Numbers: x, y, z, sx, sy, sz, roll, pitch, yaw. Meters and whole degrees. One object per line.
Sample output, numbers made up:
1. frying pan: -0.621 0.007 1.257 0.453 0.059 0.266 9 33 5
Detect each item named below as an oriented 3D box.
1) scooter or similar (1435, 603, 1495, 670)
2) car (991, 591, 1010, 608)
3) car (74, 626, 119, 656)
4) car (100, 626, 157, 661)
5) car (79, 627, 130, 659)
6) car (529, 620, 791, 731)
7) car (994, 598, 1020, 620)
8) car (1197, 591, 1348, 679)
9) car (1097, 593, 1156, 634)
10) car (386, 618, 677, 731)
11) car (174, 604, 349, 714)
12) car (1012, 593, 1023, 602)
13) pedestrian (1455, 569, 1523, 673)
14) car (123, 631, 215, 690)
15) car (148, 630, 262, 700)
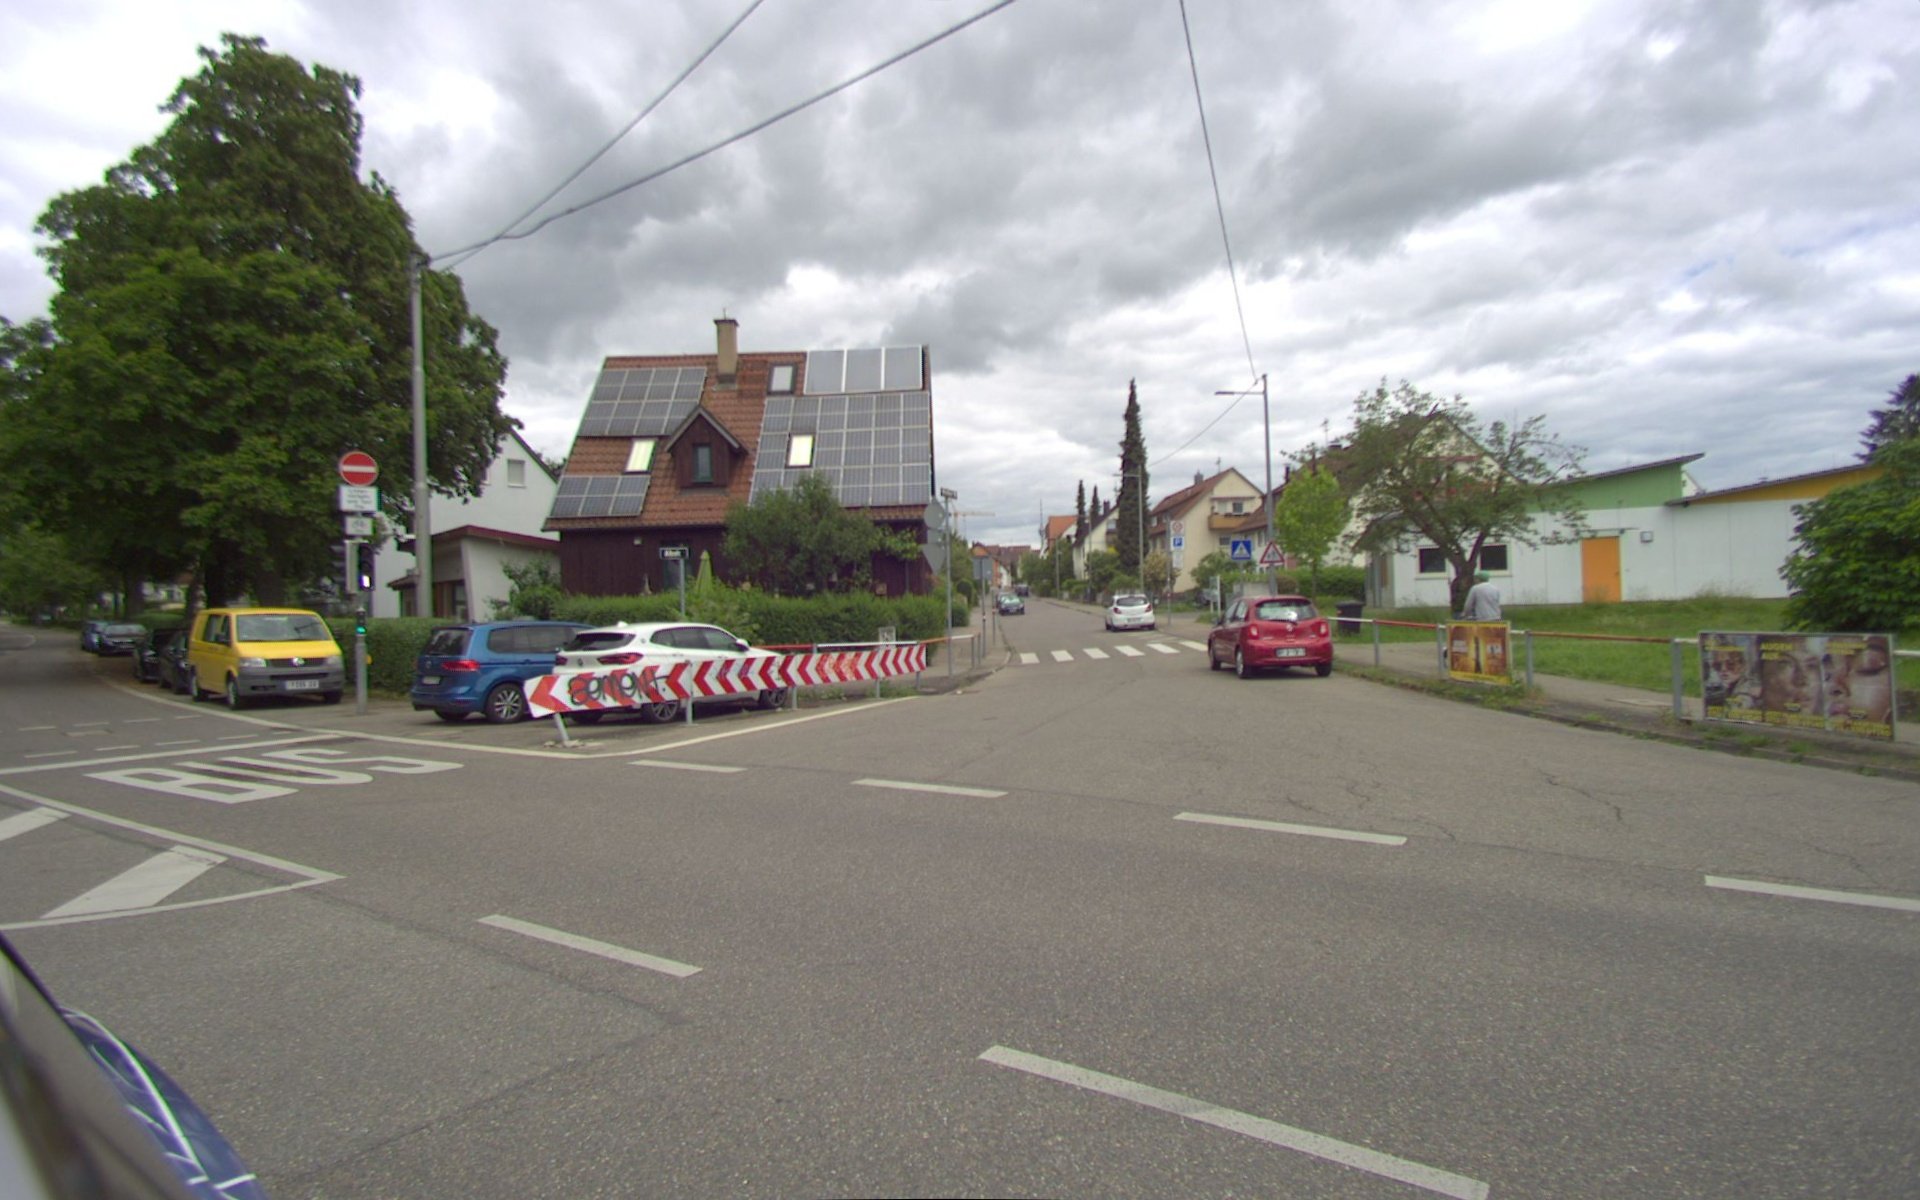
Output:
1. scooter or similar: 8.859 0.625 17.782 0.604 1.103 0.889 -2 1 2
2. car: 4.058 -0.042 102.369 1.750 1.501 3.684 -2 -1 0
3. car: -43.347 2.036 50.782 1.518 1.387 3.775 -1 -1 -43
4. car: -35.981 1.853 43.771 1.824 1.387 4.600 -1 -1 -40
5. car: -40.535 2.034 47.912 1.614 1.387 4.155 -1 -1 -43
6. car: -4.677 1.129 16.301 1.837 1.483 3.866 -3 -1 29
7. car: 3.490 0.697 75.547 1.750 1.501 3.684 -2 -1 0
8. car: 5.947 0.651 19.717 1.750 1.501 3.684 -2 -1 0
9. car: 6.757 0.563 41.343 1.750 1.501 3.684 -2 -1 0
10. car: -7.048 1.150 16.995 1.842 1.558 4.127 -3 -1 37
11. car: -14.524 1.139 20.939 4.798 2.004 1.896 -2 -1 42
12. car: 10.346 -0.426 182.248 1.750 1.501 3.684 -2 -1 0
13. pedestrian: 8.811 0.328 16.891 0.680 1.665 0.830 -2 1 2
14. car: -22.379 1.639 28.569 1.724 1.461 4.599 -1 0 -42
15. car: -18.592 1.514 24.832 1.724 1.461 4.517 -1 0 -43
